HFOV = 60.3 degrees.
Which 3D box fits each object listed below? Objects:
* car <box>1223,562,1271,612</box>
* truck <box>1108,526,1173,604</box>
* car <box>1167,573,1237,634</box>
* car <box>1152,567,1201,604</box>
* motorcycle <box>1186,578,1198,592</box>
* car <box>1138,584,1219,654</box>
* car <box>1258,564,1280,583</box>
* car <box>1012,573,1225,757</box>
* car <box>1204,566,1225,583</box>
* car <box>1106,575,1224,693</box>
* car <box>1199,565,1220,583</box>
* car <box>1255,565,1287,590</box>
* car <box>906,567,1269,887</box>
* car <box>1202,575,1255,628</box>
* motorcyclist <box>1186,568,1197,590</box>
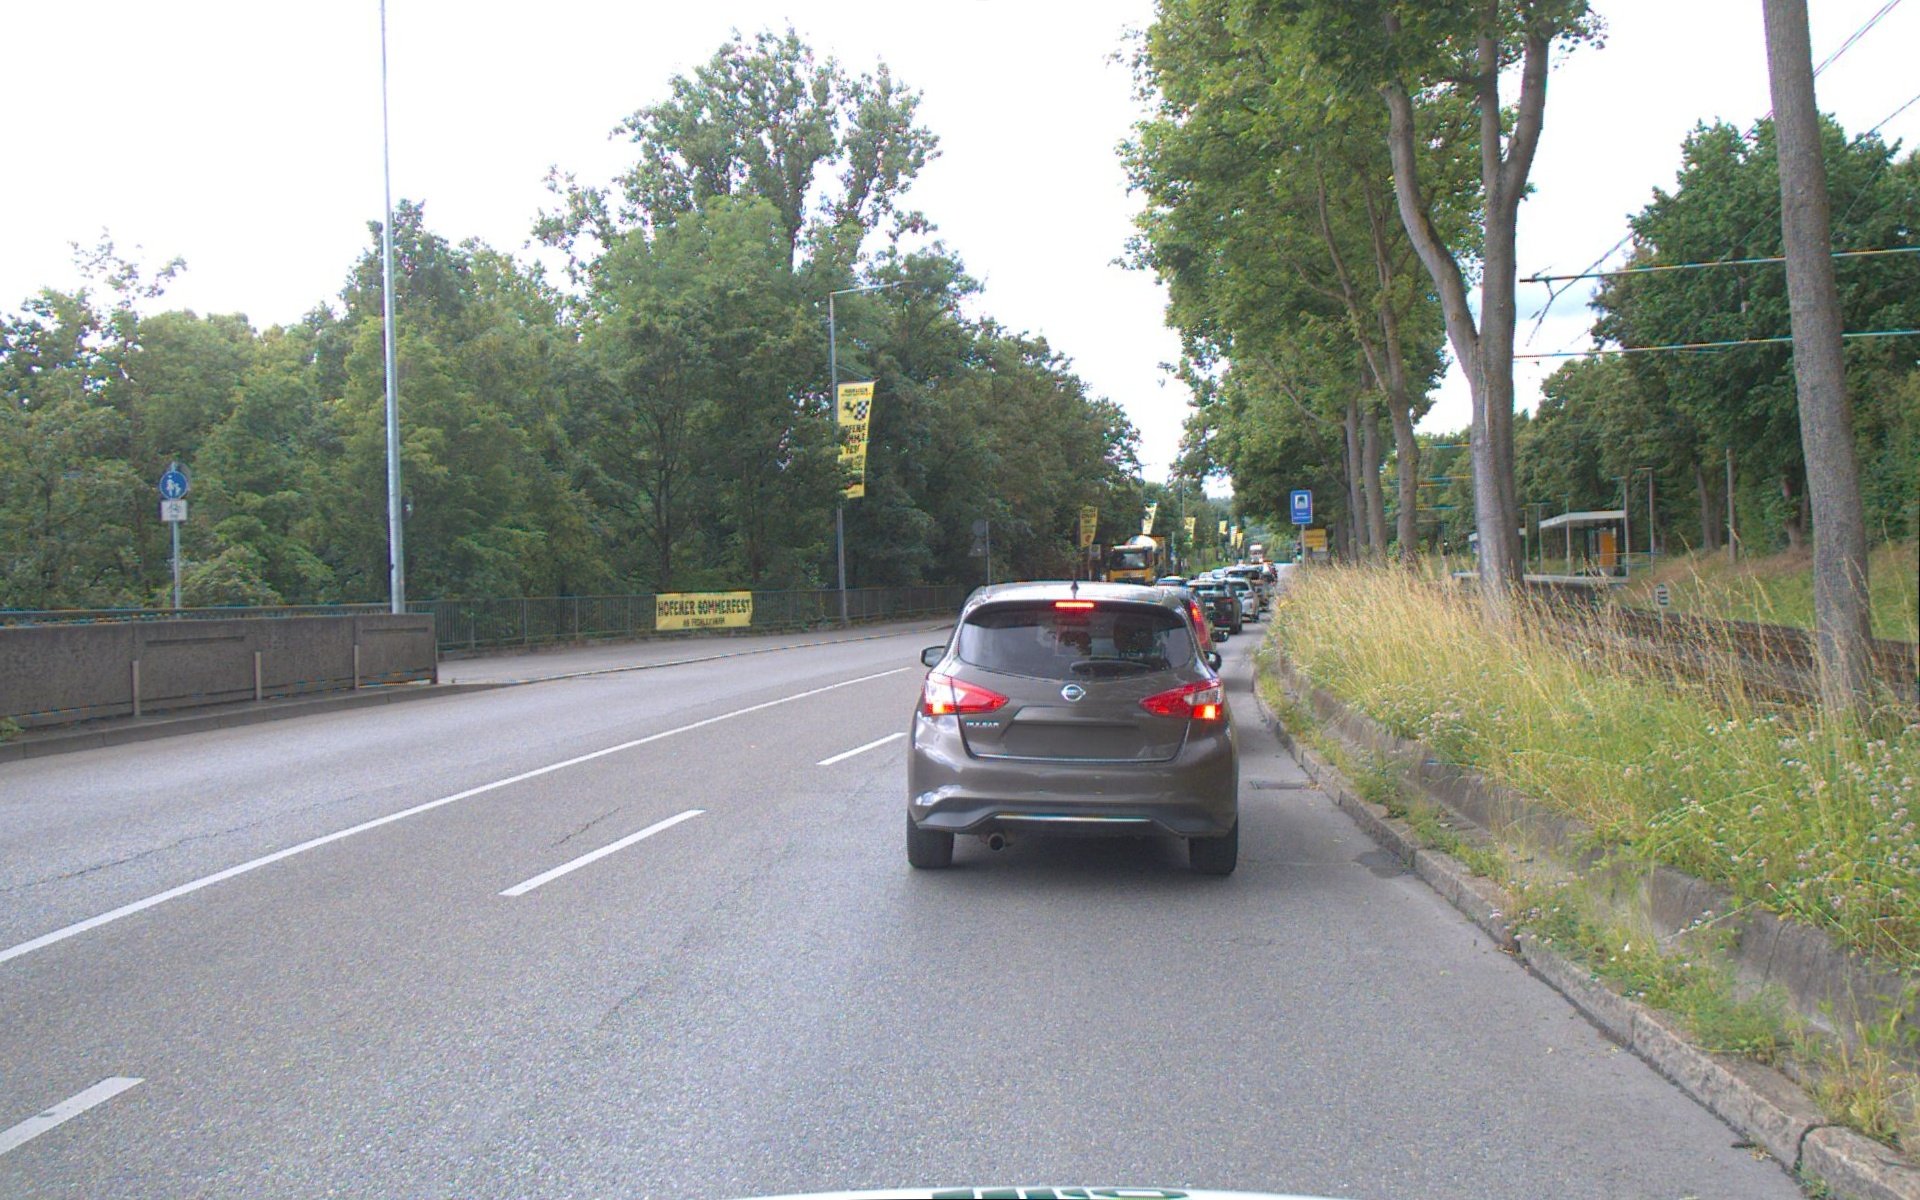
[{"bbox_3d":[12.345,-0.558,71.046,1.850,2.049,4.004,-1,0,12],"label":"car"},{"bbox_3d":[9.996,-1.870,90.838,2.598,4.007,10.120,0,0,12],"label":"truck"},{"bbox_3d":[6.605,0.088,44.863,1.766,1.567,4.003,1,0,9],"label":"car"},{"bbox_3d":[9.533,-0.601,72.617,1.812,1.512,4.424,-1,-1,12],"label":"car"},{"bbox_3d":[17.080,-1.103,121.767,0.729,1.051,1.890,-1,1,13],"label":"motorcycle"},{"bbox_3d":[4.738,0.394,35.564,1.468,1.388,3.590,-2,0,11],"label":"car"},{"bbox_3d":[28.041,-2.405,150.083,1.850,1.682,4.004,-1,0,12],"label":"car"},{"bbox_3d":[1.547,0.593,16.495,1.853,1.601,4.002,0,-1,5],"label":"car"},{"bbox_3d":[24.752,-2.474,160.646,1.779,1.488,4.004,-1,0,12],"label":"car"},{"bbox_3d":[3.049,0.470,24.472,1.544,1.565,4.003,-2,0,8],"label":"car"},{"bbox_3d":[22.613,-2.357,149.750,1.684,1.467,4.003,-2,-1,11],"label":"car"},{"bbox_3d":[19.249,-1.370,102.193,1.850,1.470,3.810,-1,0,12],"label":"car"},{"bbox_3d":[0.723,0.630,9.976,1.737,1.520,4.001,0,-1,3],"label":"car"},{"bbox_3d":[9.343,0.083,57.358,1.681,1.723,4.003,-2,-2,11],"label":"car"},{"bbox_3d":[17.074,-1.549,121.774,0.729,1.566,0.791,-1,0,12],"label":"motorcyclist"}]
